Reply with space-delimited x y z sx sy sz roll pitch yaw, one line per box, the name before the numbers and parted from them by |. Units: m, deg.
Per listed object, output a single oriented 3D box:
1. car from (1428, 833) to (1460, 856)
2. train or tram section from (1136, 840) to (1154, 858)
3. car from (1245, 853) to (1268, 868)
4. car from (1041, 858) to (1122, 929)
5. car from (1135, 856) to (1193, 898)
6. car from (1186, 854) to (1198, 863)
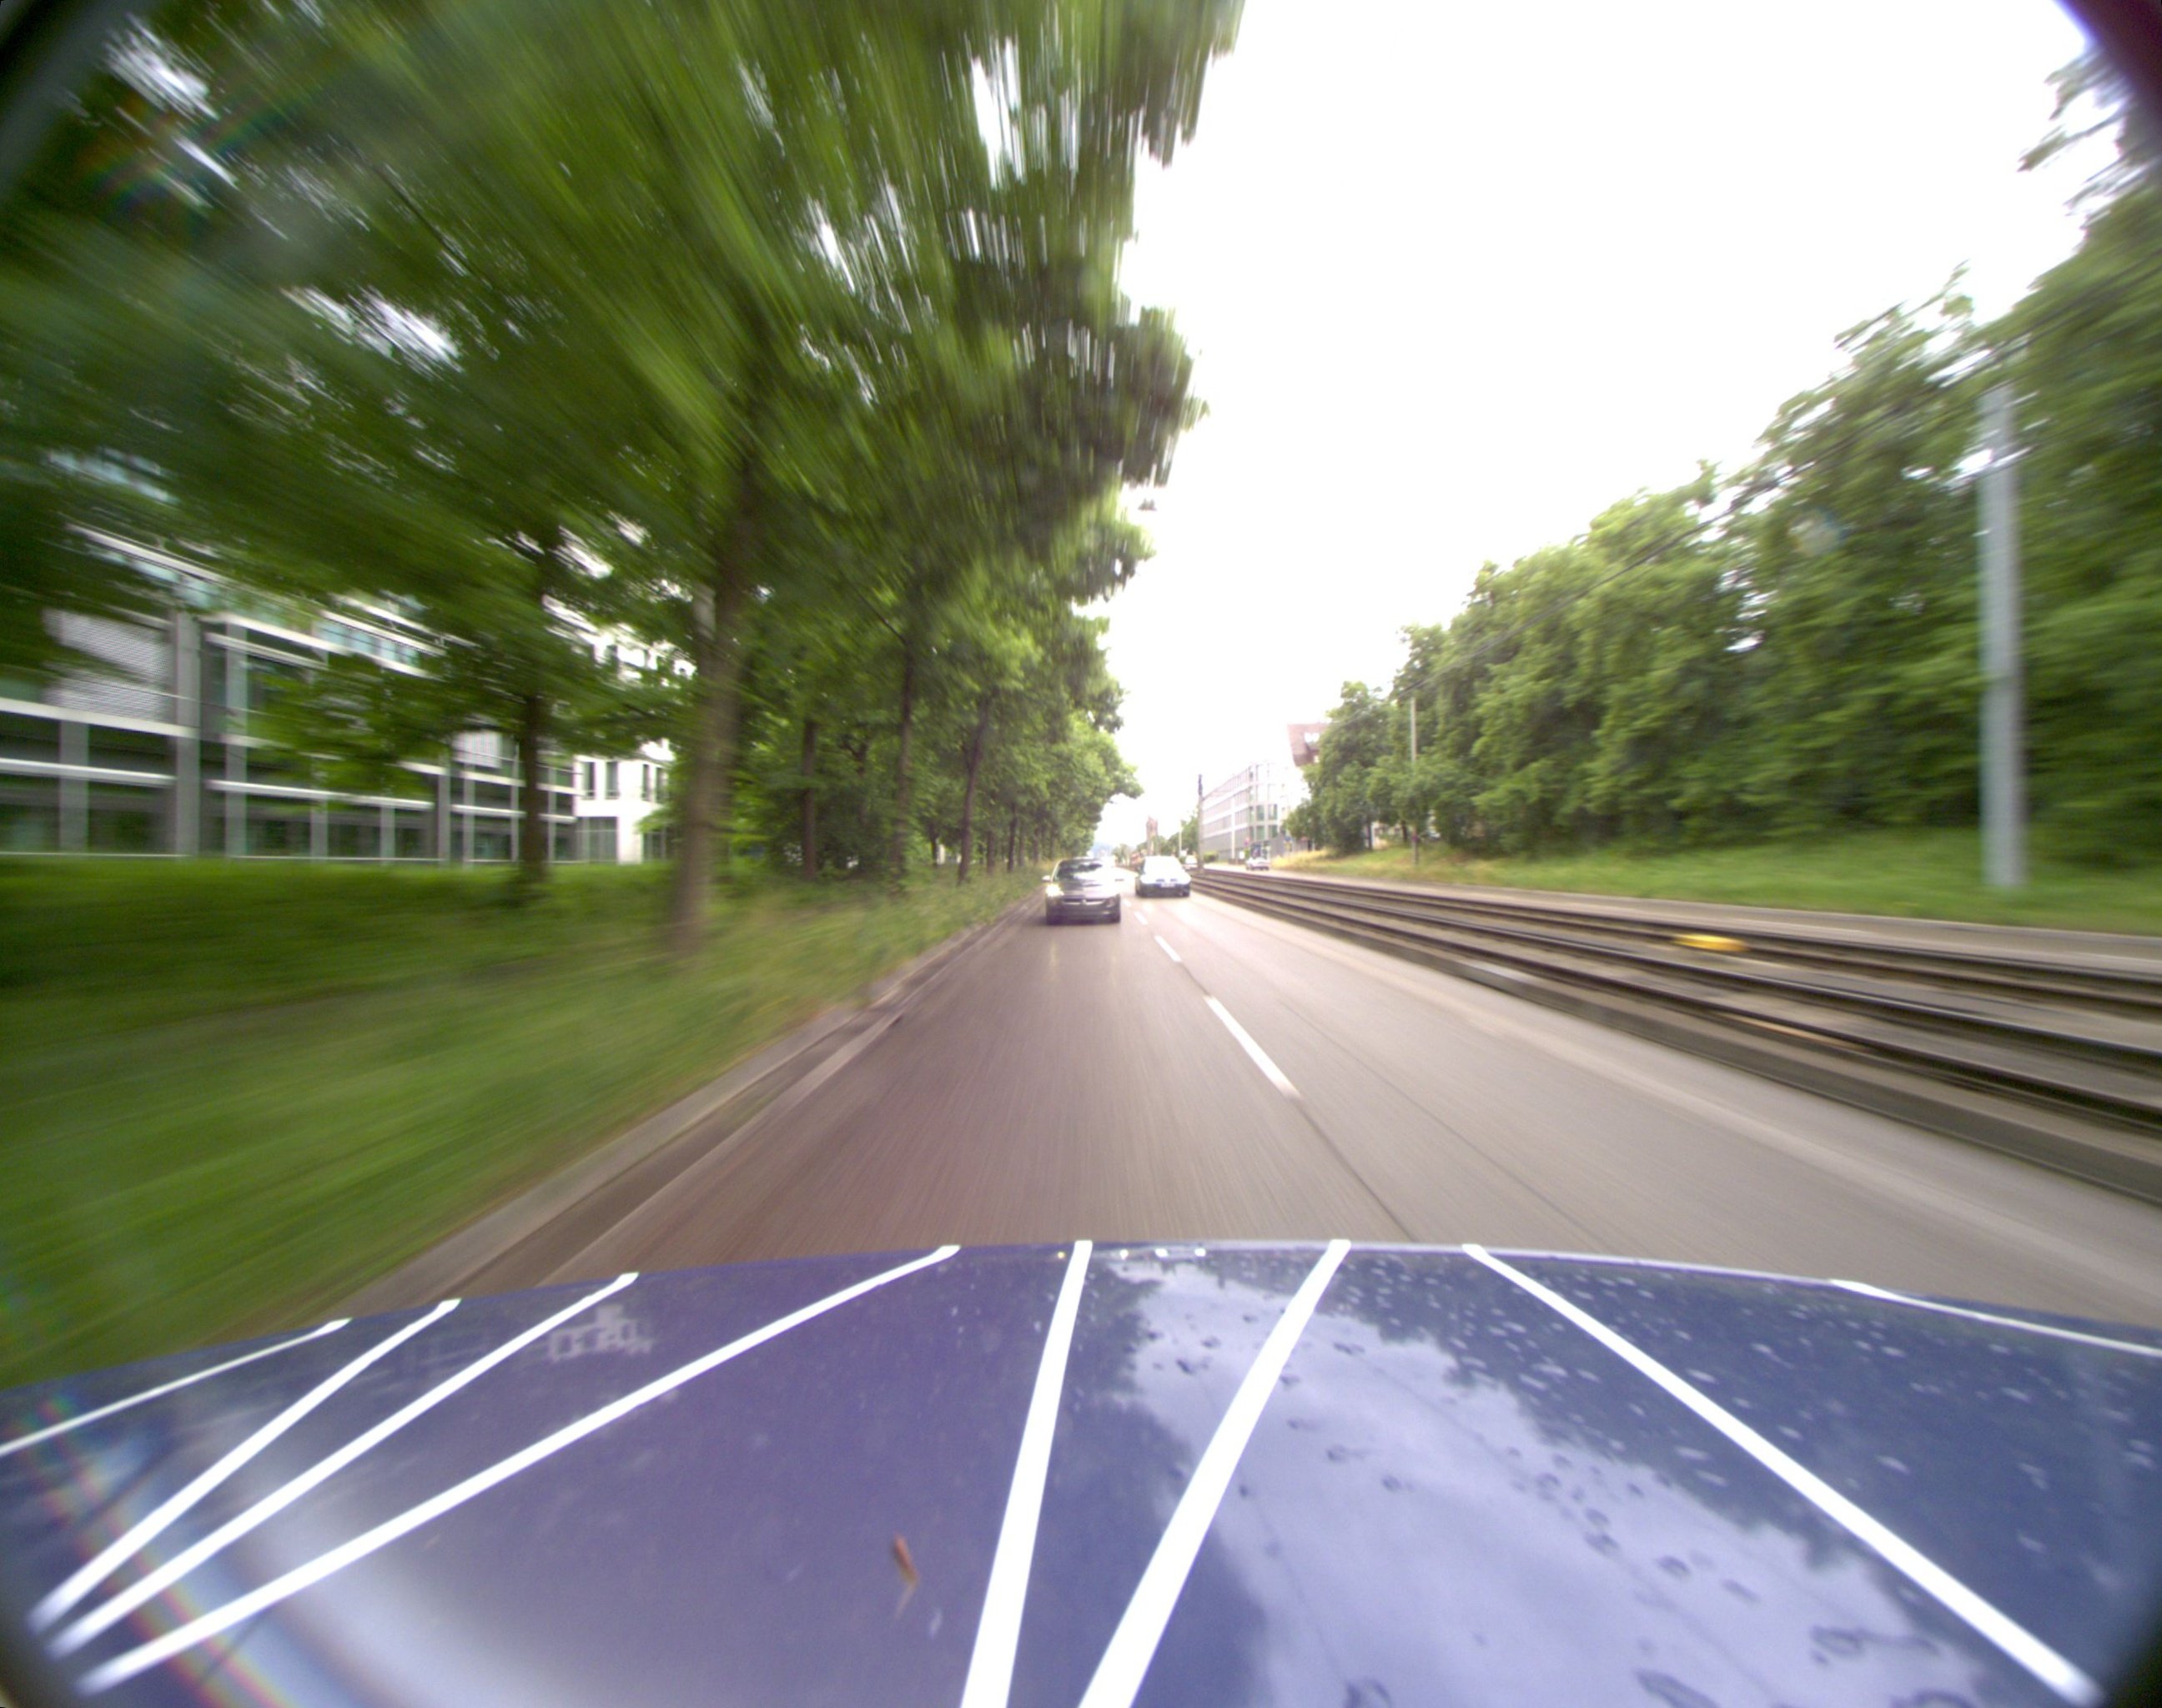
car | 33.045 -0.864 69.224 1.963 2.002 4.222 -1 0 17
train or tram section | 15.085 -1.072 179.208 2.975 3.788 19.522 -1 0 1
car | 17.572 0.589 76.094 1.480 1.427 3.909 1 0 1
car | 0.075 0.872 18.739 1.698 1.439 4.420 -3 0 2
car | 3.028 0.797 28.423 1.770 1.439 3.833 -1 0 1
car | 20.486 0.844 140.869 1.657 1.520 4.381 -1 0 1
